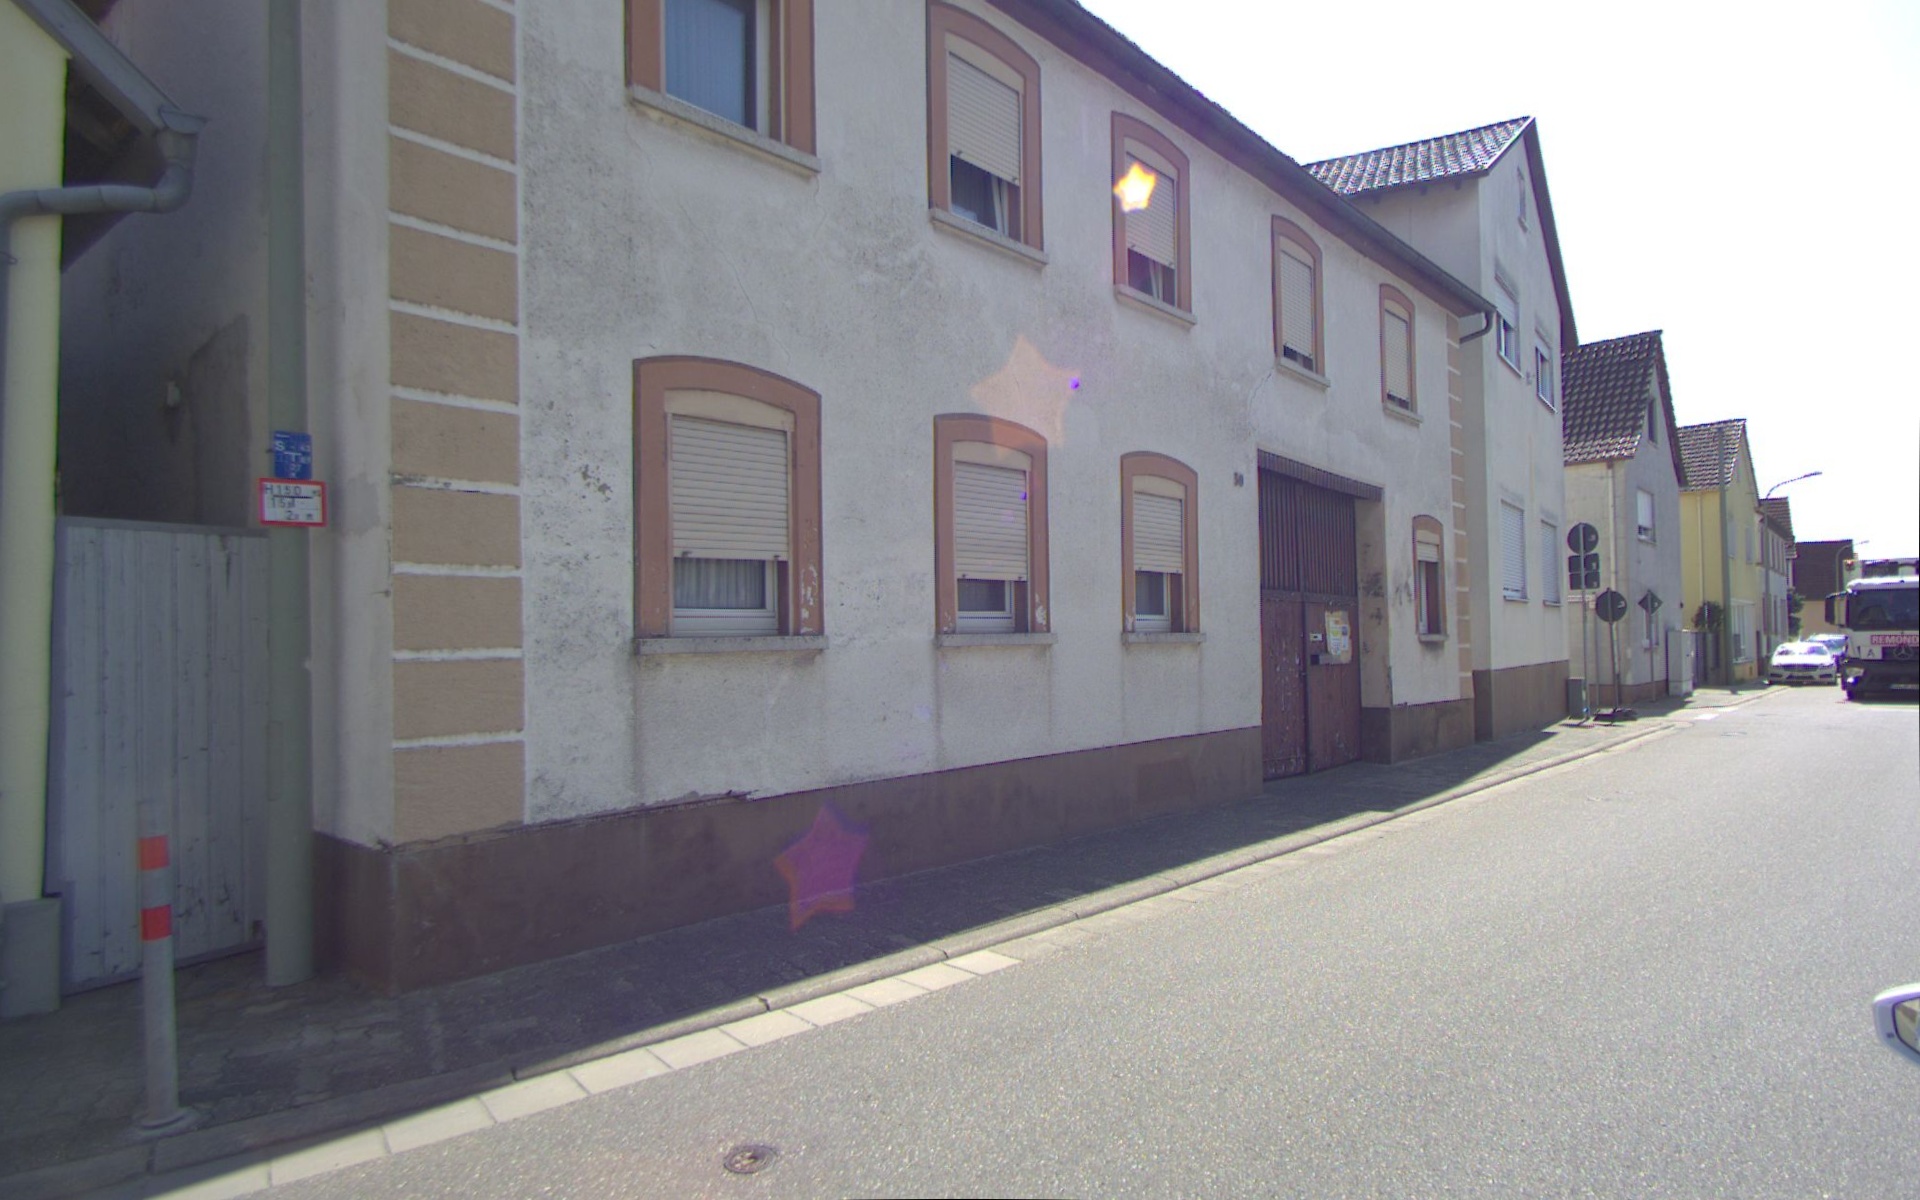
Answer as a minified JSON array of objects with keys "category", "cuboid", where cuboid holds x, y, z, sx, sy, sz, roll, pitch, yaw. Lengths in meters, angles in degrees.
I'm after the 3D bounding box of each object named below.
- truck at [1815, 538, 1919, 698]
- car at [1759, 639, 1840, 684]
[{"category":"truck","cuboid":[26.475,0.565,27.855,10.786,3.799,2.672,2,-3,-42]},{"category":"car","cuboid":[29.514,2.133,35.284,1.816,1.483,4.244,-3,-4,44]}]
